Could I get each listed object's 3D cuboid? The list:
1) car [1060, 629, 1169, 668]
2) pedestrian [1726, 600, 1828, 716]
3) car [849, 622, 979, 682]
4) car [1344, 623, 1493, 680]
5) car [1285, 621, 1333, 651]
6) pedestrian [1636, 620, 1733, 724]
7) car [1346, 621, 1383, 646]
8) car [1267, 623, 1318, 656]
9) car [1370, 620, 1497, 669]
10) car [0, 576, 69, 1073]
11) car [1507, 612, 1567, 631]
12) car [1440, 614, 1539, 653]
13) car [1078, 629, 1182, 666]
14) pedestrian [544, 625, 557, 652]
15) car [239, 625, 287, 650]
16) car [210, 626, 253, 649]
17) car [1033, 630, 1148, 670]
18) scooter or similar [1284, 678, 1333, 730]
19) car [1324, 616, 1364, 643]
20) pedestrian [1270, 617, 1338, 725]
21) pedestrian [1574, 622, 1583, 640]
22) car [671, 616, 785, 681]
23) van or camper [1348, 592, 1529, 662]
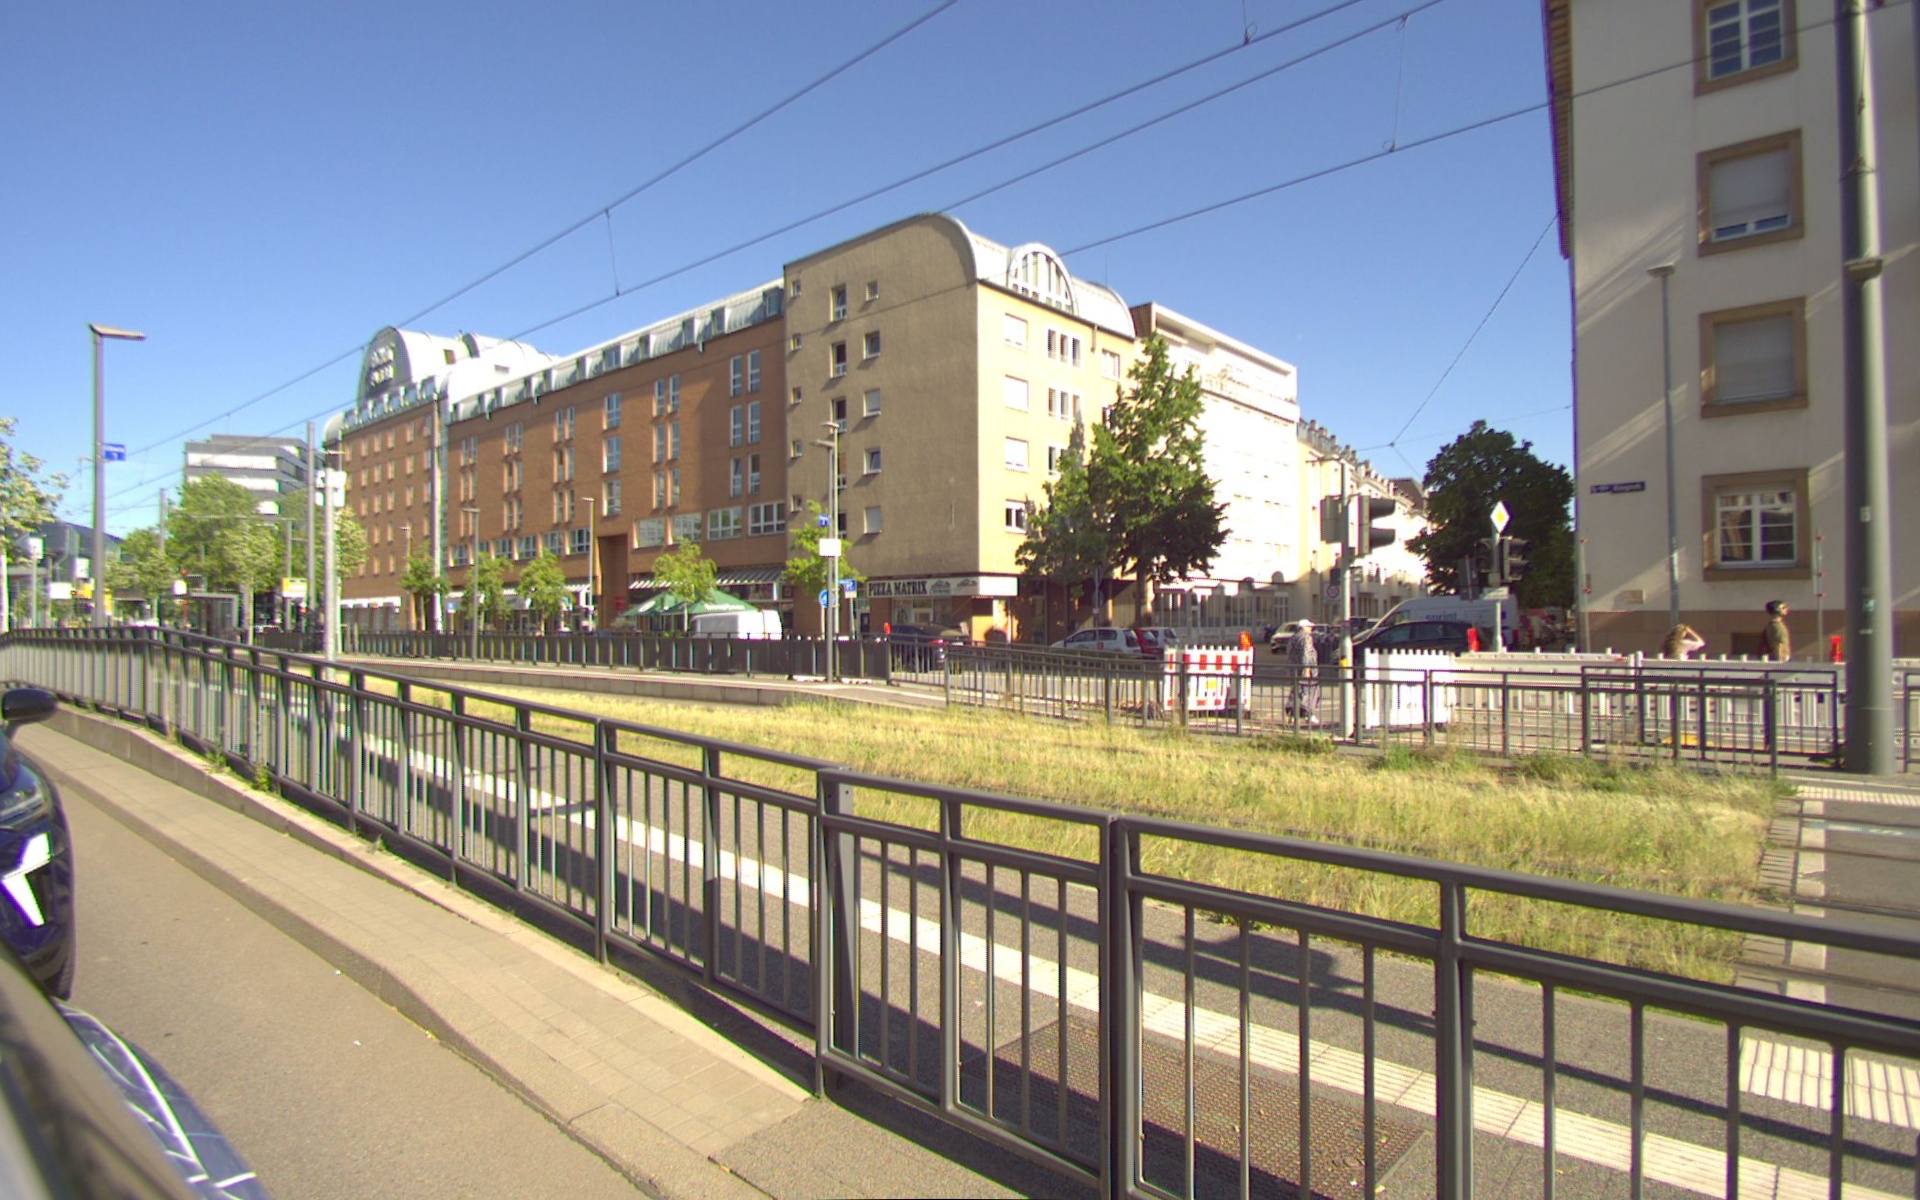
[{"bbox_3d":[6.169,1.905,40.418,3.980,1.462,1.768,-1,-2,28],"label":"car"},{"bbox_3d":[13.169,0.913,16.332,0.853,1.794,0.912,-1,-1,-13],"label":"pedestrian"},{"bbox_3d":[-1.496,1.607,32.059,3.997,1.773,1.796,-2,-2,40],"label":"car"},{"bbox_3d":[13.007,1.432,28.755,3.662,1.533,1.673,-1,-2,32],"label":"car"},{"bbox_3d":[19.834,2.021,57.413,1.947,1.674,3.962,-1,-2,28],"label":"car"},{"bbox_3d":[11.204,1.090,15.688,0.858,1.548,0.907,-1,-1,9],"label":"pedestrian"},{"bbox_3d":[28.222,2.317,70.516,1.947,1.674,3.962,-1,-2,28],"label":"car"},{"bbox_3d":[17.626,2.074,53.524,1.947,1.674,3.962,-1,-2,28],"label":"car"},{"bbox_3d":[15.684,1.443,33.571,3.654,1.533,1.673,-1,-2,32],"label":"car"},{"bbox_3d":[-5.102,0.757,4.069,3.998,1.618,1.779,-1,0,41],"label":"car"},{"bbox_3d":[45.025,1.689,79.068,3.853,1.472,1.740,-1,-2,24],"label":"car"},{"bbox_3d":[25.219,1.570,48.207,3.990,1.789,1.722,-1,-2,35],"label":"car"},{"bbox_3d":[7.112,1.959,42.417,3.980,1.462,1.768,-1,-2,28],"label":"car"},{"bbox_3d":[-28.254,2.650,69.809,0.644,1.854,0.614,-2,-2,39],"label":"pedestrian"},{"bbox_3d":[-51.076,2.725,74.159,3.998,1.696,1.973,-1,0,41],"label":"car"},{"bbox_3d":[-58.239,2.946,80.900,3.998,1.696,1.973,-1,0,41],"label":"car"},{"bbox_3d":[4.964,1.869,38.514,3.980,1.462,1.768,-1,-2,28],"label":"car"},{"bbox_3d":[4.947,1.469,14.347,0.514,0.656,0.702,-1,-1,31],"label":"scooter or similar"},{"bbox_3d":[24.939,1.923,65.686,1.947,1.674,3.962,-1,-2,28],"label":"car"},{"bbox_3d":[5.141,1.036,15.114,0.795,1.548,0.807,-1,-1,31],"label":"pedestrian"},{"bbox_3d":[60.661,3.020,99.280,0.687,1.768,0.807,-2,-2,34],"label":"pedestrian"},{"bbox_3d":[-9.316,1.855,40.217,1.969,2.388,5.653,0,-2,-41],"label":"car"},{"bbox_3d":[17.716,1.017,37.621,5.933,2.419,1.979,-1,-2,30],"label":"van or camper"}]
